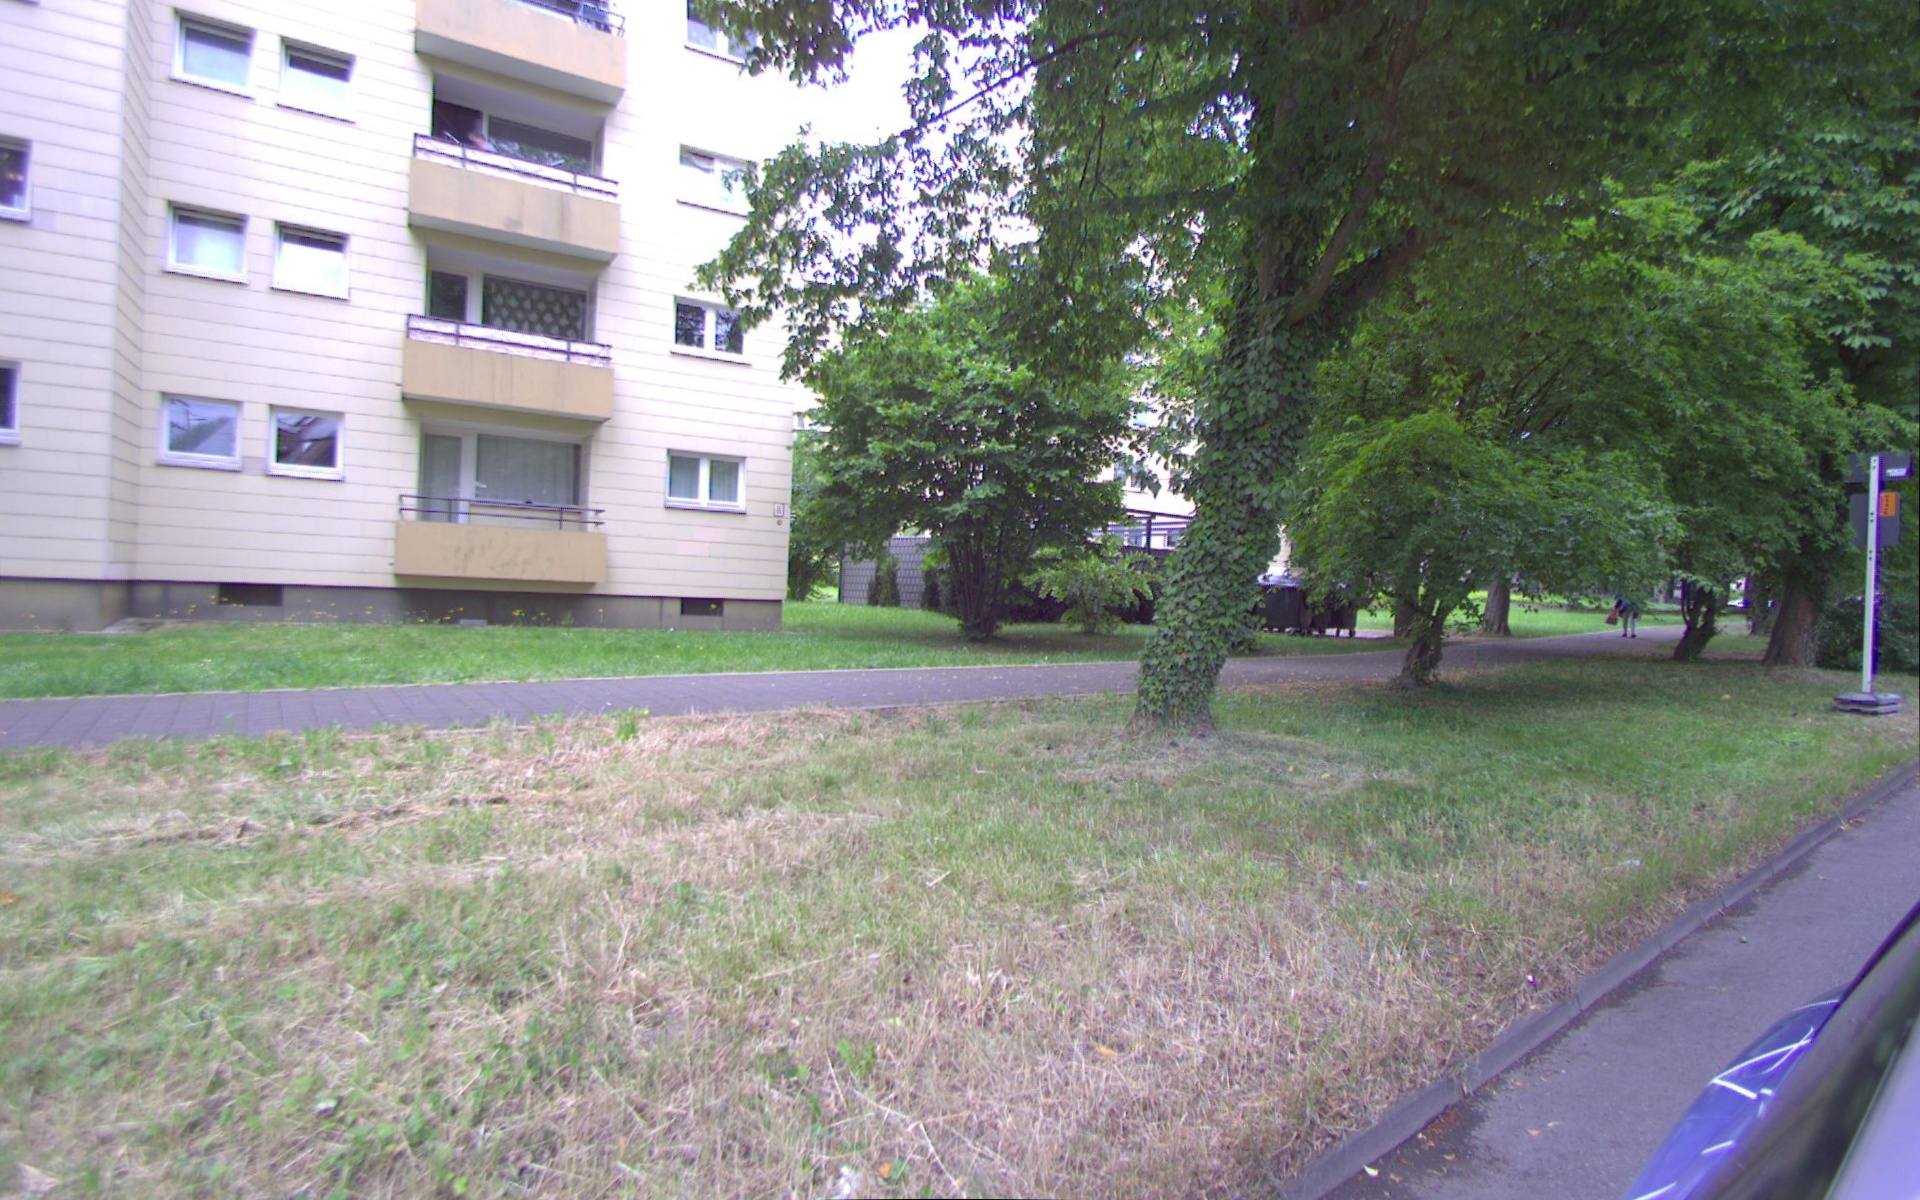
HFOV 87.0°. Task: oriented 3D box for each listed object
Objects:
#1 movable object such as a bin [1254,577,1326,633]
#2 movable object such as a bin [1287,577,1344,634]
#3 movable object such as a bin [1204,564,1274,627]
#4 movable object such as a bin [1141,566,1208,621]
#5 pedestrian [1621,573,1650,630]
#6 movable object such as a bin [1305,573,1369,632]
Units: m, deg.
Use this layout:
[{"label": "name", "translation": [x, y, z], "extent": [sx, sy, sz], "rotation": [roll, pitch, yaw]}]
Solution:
[{"label": "movable object such as a bin", "translation": [7.905, 0.104, 24.219], "extent": [1.190, 1.236, 1.329], "rotation": [3, 2, 41]}, {"label": "movable object such as a bin", "translation": [8.787, 0.120, 24.999], "extent": [1.022, 1.320, 0.946], "rotation": [3, 2, 41]}, {"label": "movable object such as a bin", "translation": [6.910, -0.115, 25.084], "extent": [1.190, 1.474, 1.329], "rotation": [3, 2, 41]}, {"label": "movable object such as a bin", "translation": [5.638, -0.179, 26.548], "extent": [1.190, 1.358, 1.329], "rotation": [3, 2, 41]}, {"label": "pedestrian", "translation": [21.288, 0.045, 31.889], "extent": [0.560, 1.761, 0.565], "rotation": [1, 3, -42]}, {"label": "movable object such as a bin", "translation": [9.584, 0.056, 25.722], "extent": [1.190, 1.431, 1.095], "rotation": [3, 2, 41]}]
